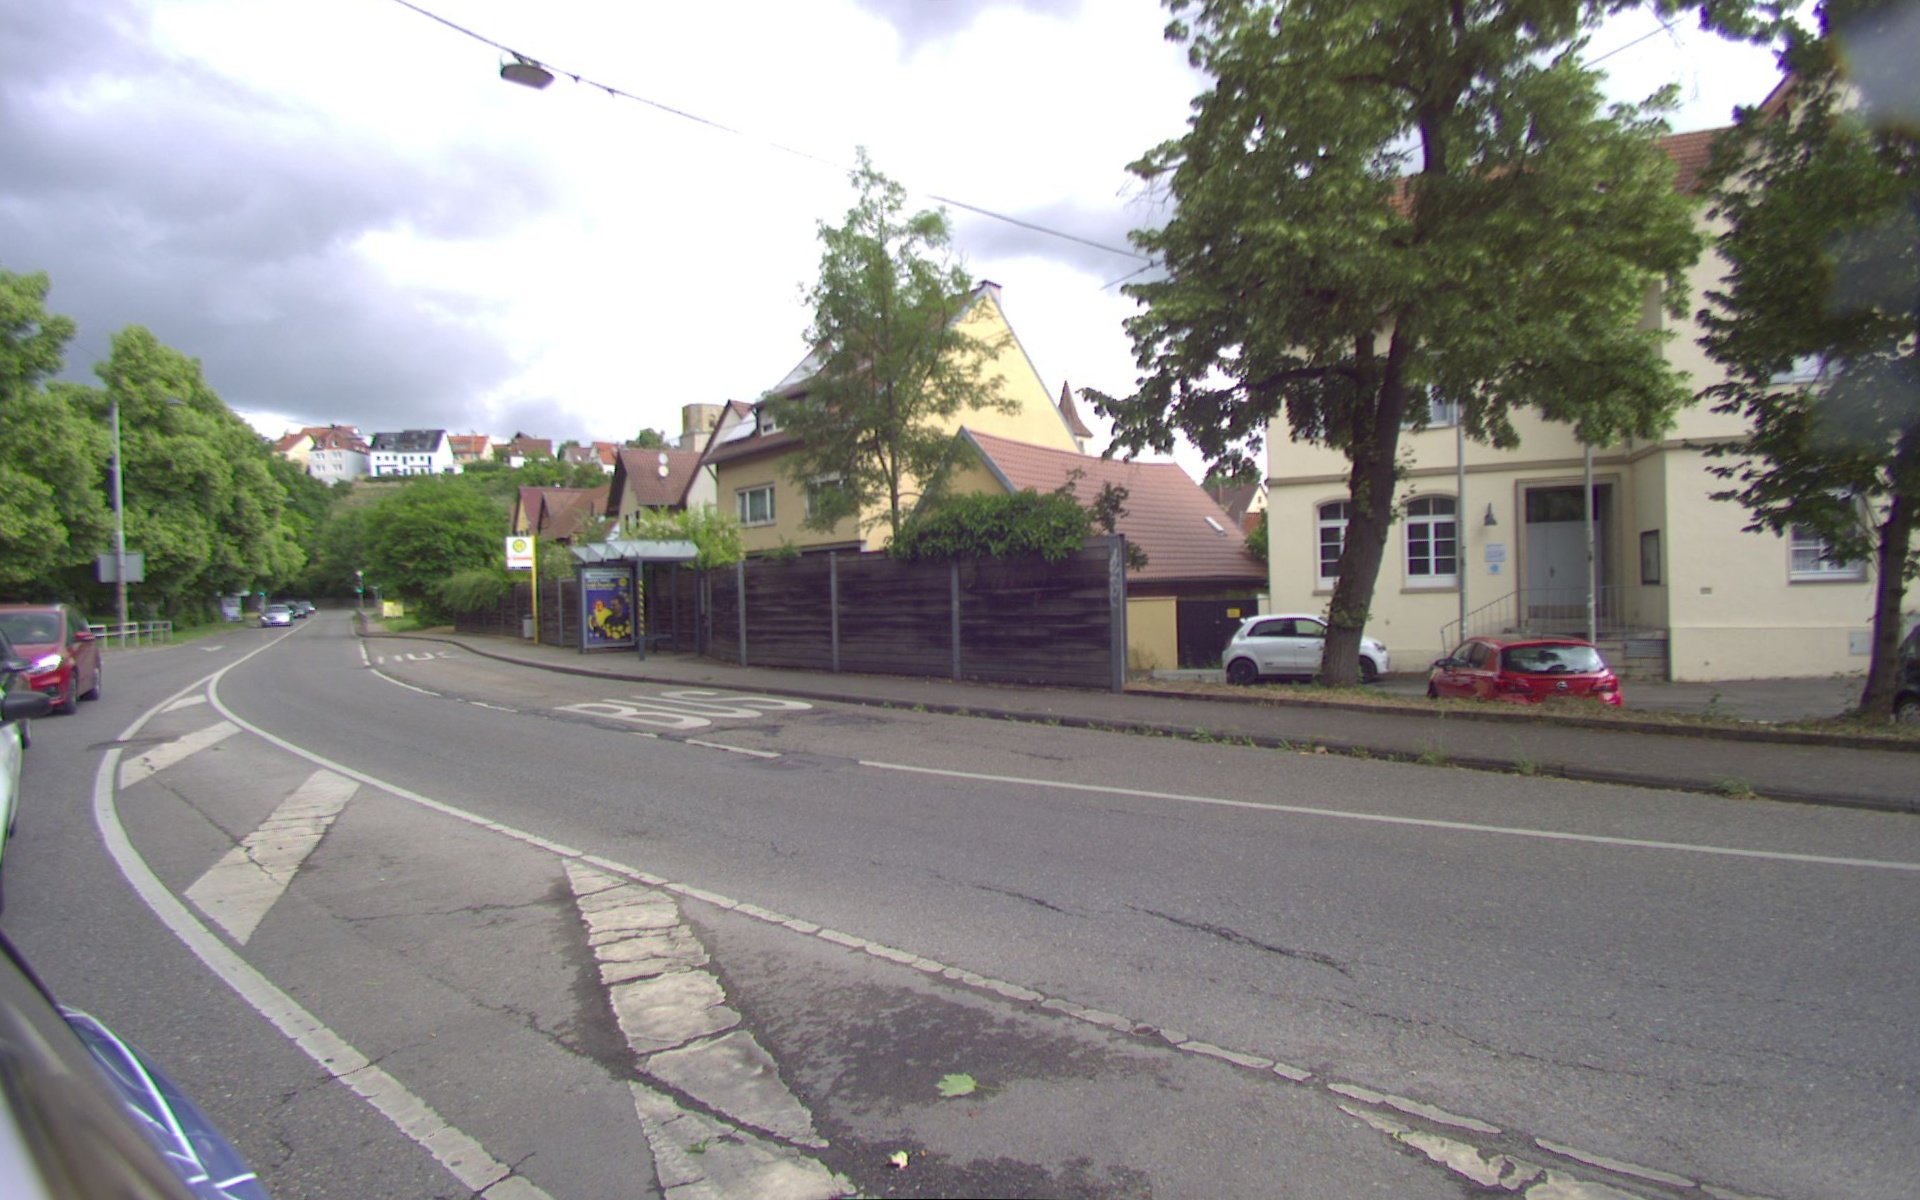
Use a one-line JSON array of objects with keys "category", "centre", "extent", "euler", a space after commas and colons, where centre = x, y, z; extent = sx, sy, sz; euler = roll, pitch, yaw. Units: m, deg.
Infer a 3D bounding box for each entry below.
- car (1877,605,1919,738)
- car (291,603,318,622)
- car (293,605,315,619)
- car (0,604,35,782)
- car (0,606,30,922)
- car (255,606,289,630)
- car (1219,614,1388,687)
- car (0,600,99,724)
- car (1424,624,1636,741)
[{"category": "car", "centre": [12.695, 0.888, 11.592], "extent": [1.586, 1.644, 3.093], "euler": [-1, 0, 2]}, {"category": "car", "centre": [-64.117, 1.196, 99.063], "extent": [1.880, 1.768, 4.013], "euler": [-2, 1, -28]}, {"category": "car", "centre": [-77.151, 1.430, 119.019], "extent": [1.817, 1.630, 4.008], "euler": [-1, 0, -38]}, {"category": "car", "centre": [-10.248, 0.851, 9.846], "extent": [1.699, 1.559, 3.787], "euler": [-1, 0, -41]}, {"category": "car", "centre": [-6.036, 0.814, 5.283], "extent": [1.594, 1.525, 3.610], "euler": [-1, 0, -41]}, {"category": "car", "centre": [-50.103, 1.317, 73.674], "extent": [1.817, 1.652, 4.009], "euler": [-1, 0, -37]}, {"category": "car", "centre": [7.743, 1.107, 22.930], "extent": [3.487, 1.528, 1.581], "euler": [-1, 0, 20]}, {"category": "car", "centre": [-14.514, 0.876, 15.446], "extent": [1.800, 1.685, 4.067], "euler": [-1, 0, -37]}, {"category": "car", "centre": [8.122, 1.103, 14.775], "extent": [1.590, 1.389, 3.544], "euler": [-1, 0, 10]}]
